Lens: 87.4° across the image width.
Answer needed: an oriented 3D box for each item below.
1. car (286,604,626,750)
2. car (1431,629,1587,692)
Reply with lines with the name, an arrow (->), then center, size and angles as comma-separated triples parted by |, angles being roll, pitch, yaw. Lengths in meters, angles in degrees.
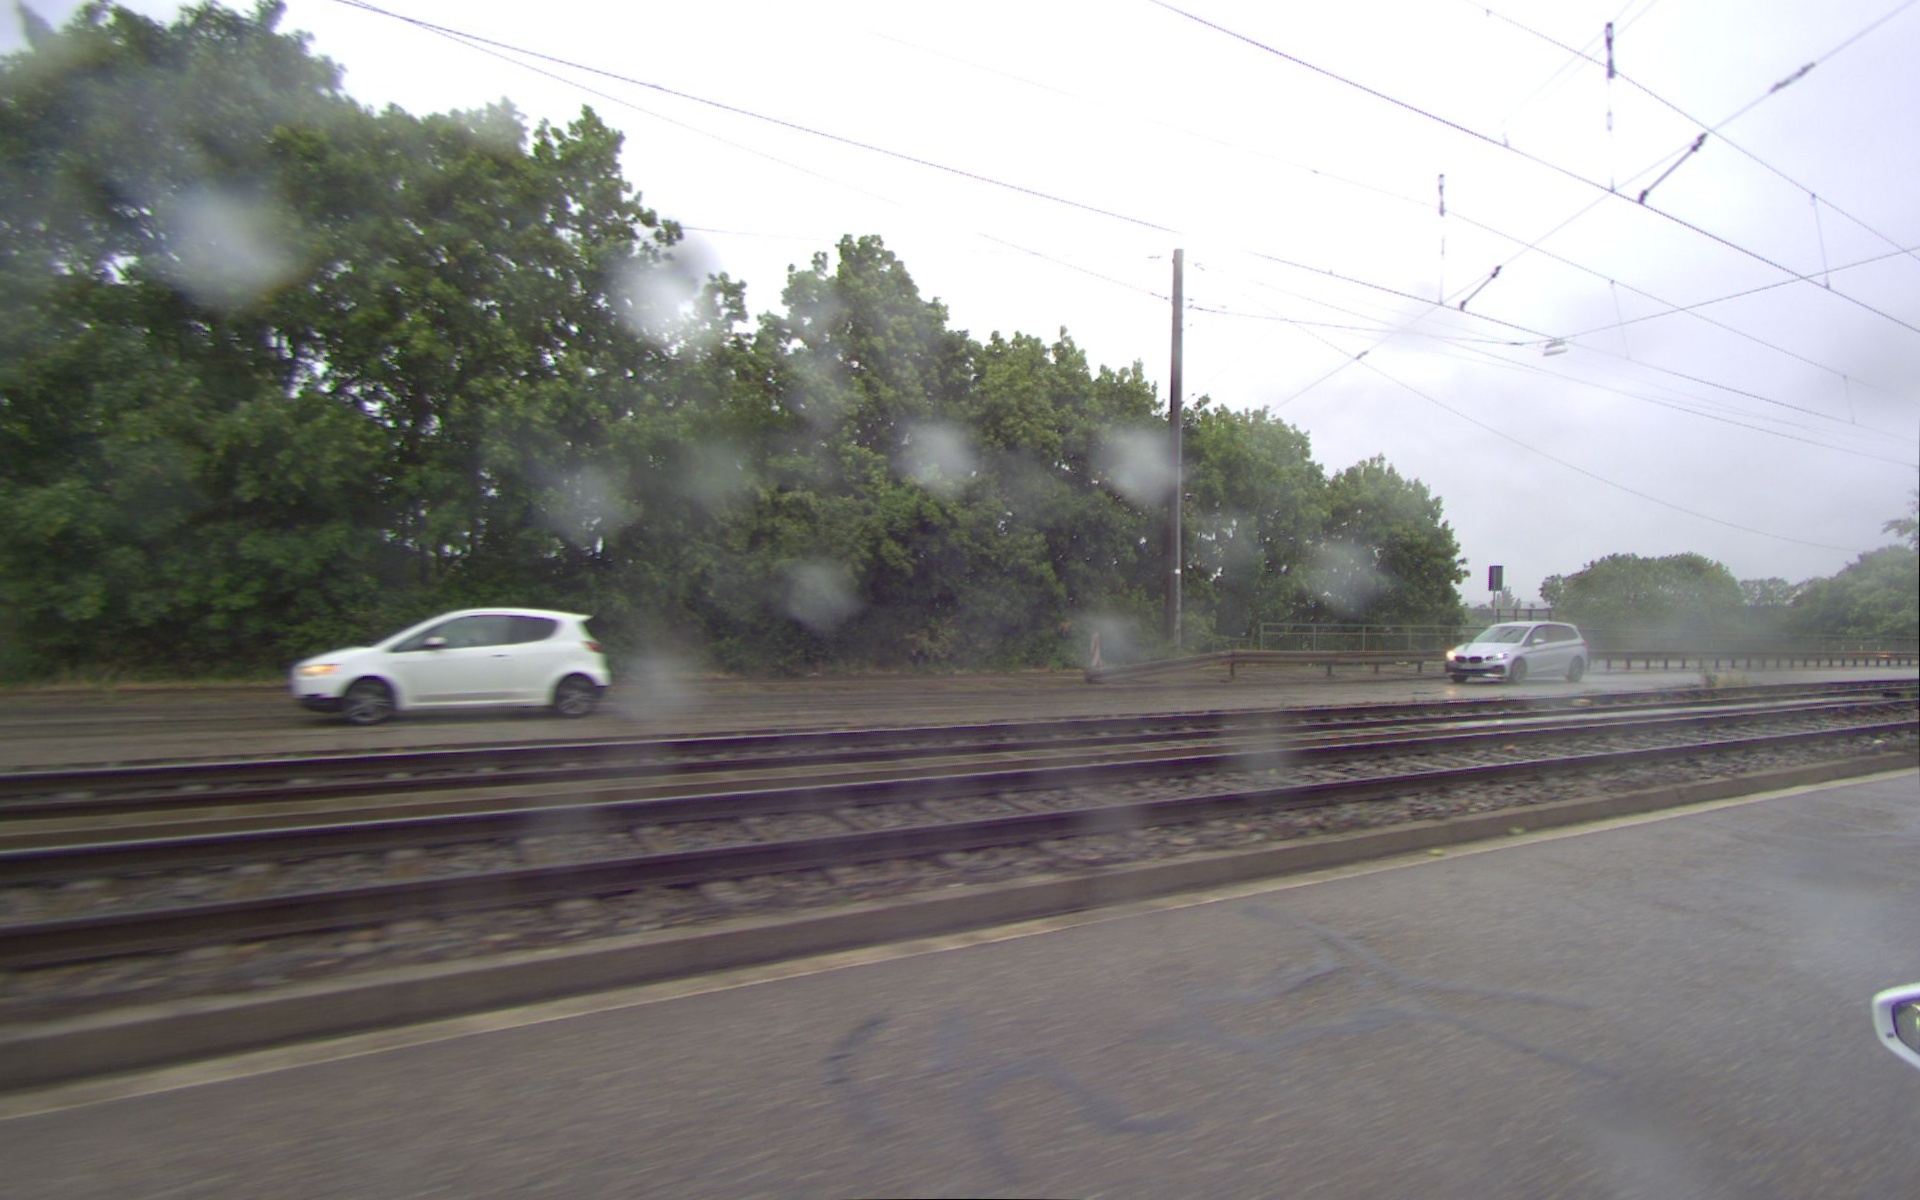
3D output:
car -> -6.821, 0.936, 13.824 | 3.954, 1.734, 1.745 | 0, 0, -31
car -> 14.682, 1.562, 26.836 | 4.144, 1.472, 1.789 | 0, 0, -30
